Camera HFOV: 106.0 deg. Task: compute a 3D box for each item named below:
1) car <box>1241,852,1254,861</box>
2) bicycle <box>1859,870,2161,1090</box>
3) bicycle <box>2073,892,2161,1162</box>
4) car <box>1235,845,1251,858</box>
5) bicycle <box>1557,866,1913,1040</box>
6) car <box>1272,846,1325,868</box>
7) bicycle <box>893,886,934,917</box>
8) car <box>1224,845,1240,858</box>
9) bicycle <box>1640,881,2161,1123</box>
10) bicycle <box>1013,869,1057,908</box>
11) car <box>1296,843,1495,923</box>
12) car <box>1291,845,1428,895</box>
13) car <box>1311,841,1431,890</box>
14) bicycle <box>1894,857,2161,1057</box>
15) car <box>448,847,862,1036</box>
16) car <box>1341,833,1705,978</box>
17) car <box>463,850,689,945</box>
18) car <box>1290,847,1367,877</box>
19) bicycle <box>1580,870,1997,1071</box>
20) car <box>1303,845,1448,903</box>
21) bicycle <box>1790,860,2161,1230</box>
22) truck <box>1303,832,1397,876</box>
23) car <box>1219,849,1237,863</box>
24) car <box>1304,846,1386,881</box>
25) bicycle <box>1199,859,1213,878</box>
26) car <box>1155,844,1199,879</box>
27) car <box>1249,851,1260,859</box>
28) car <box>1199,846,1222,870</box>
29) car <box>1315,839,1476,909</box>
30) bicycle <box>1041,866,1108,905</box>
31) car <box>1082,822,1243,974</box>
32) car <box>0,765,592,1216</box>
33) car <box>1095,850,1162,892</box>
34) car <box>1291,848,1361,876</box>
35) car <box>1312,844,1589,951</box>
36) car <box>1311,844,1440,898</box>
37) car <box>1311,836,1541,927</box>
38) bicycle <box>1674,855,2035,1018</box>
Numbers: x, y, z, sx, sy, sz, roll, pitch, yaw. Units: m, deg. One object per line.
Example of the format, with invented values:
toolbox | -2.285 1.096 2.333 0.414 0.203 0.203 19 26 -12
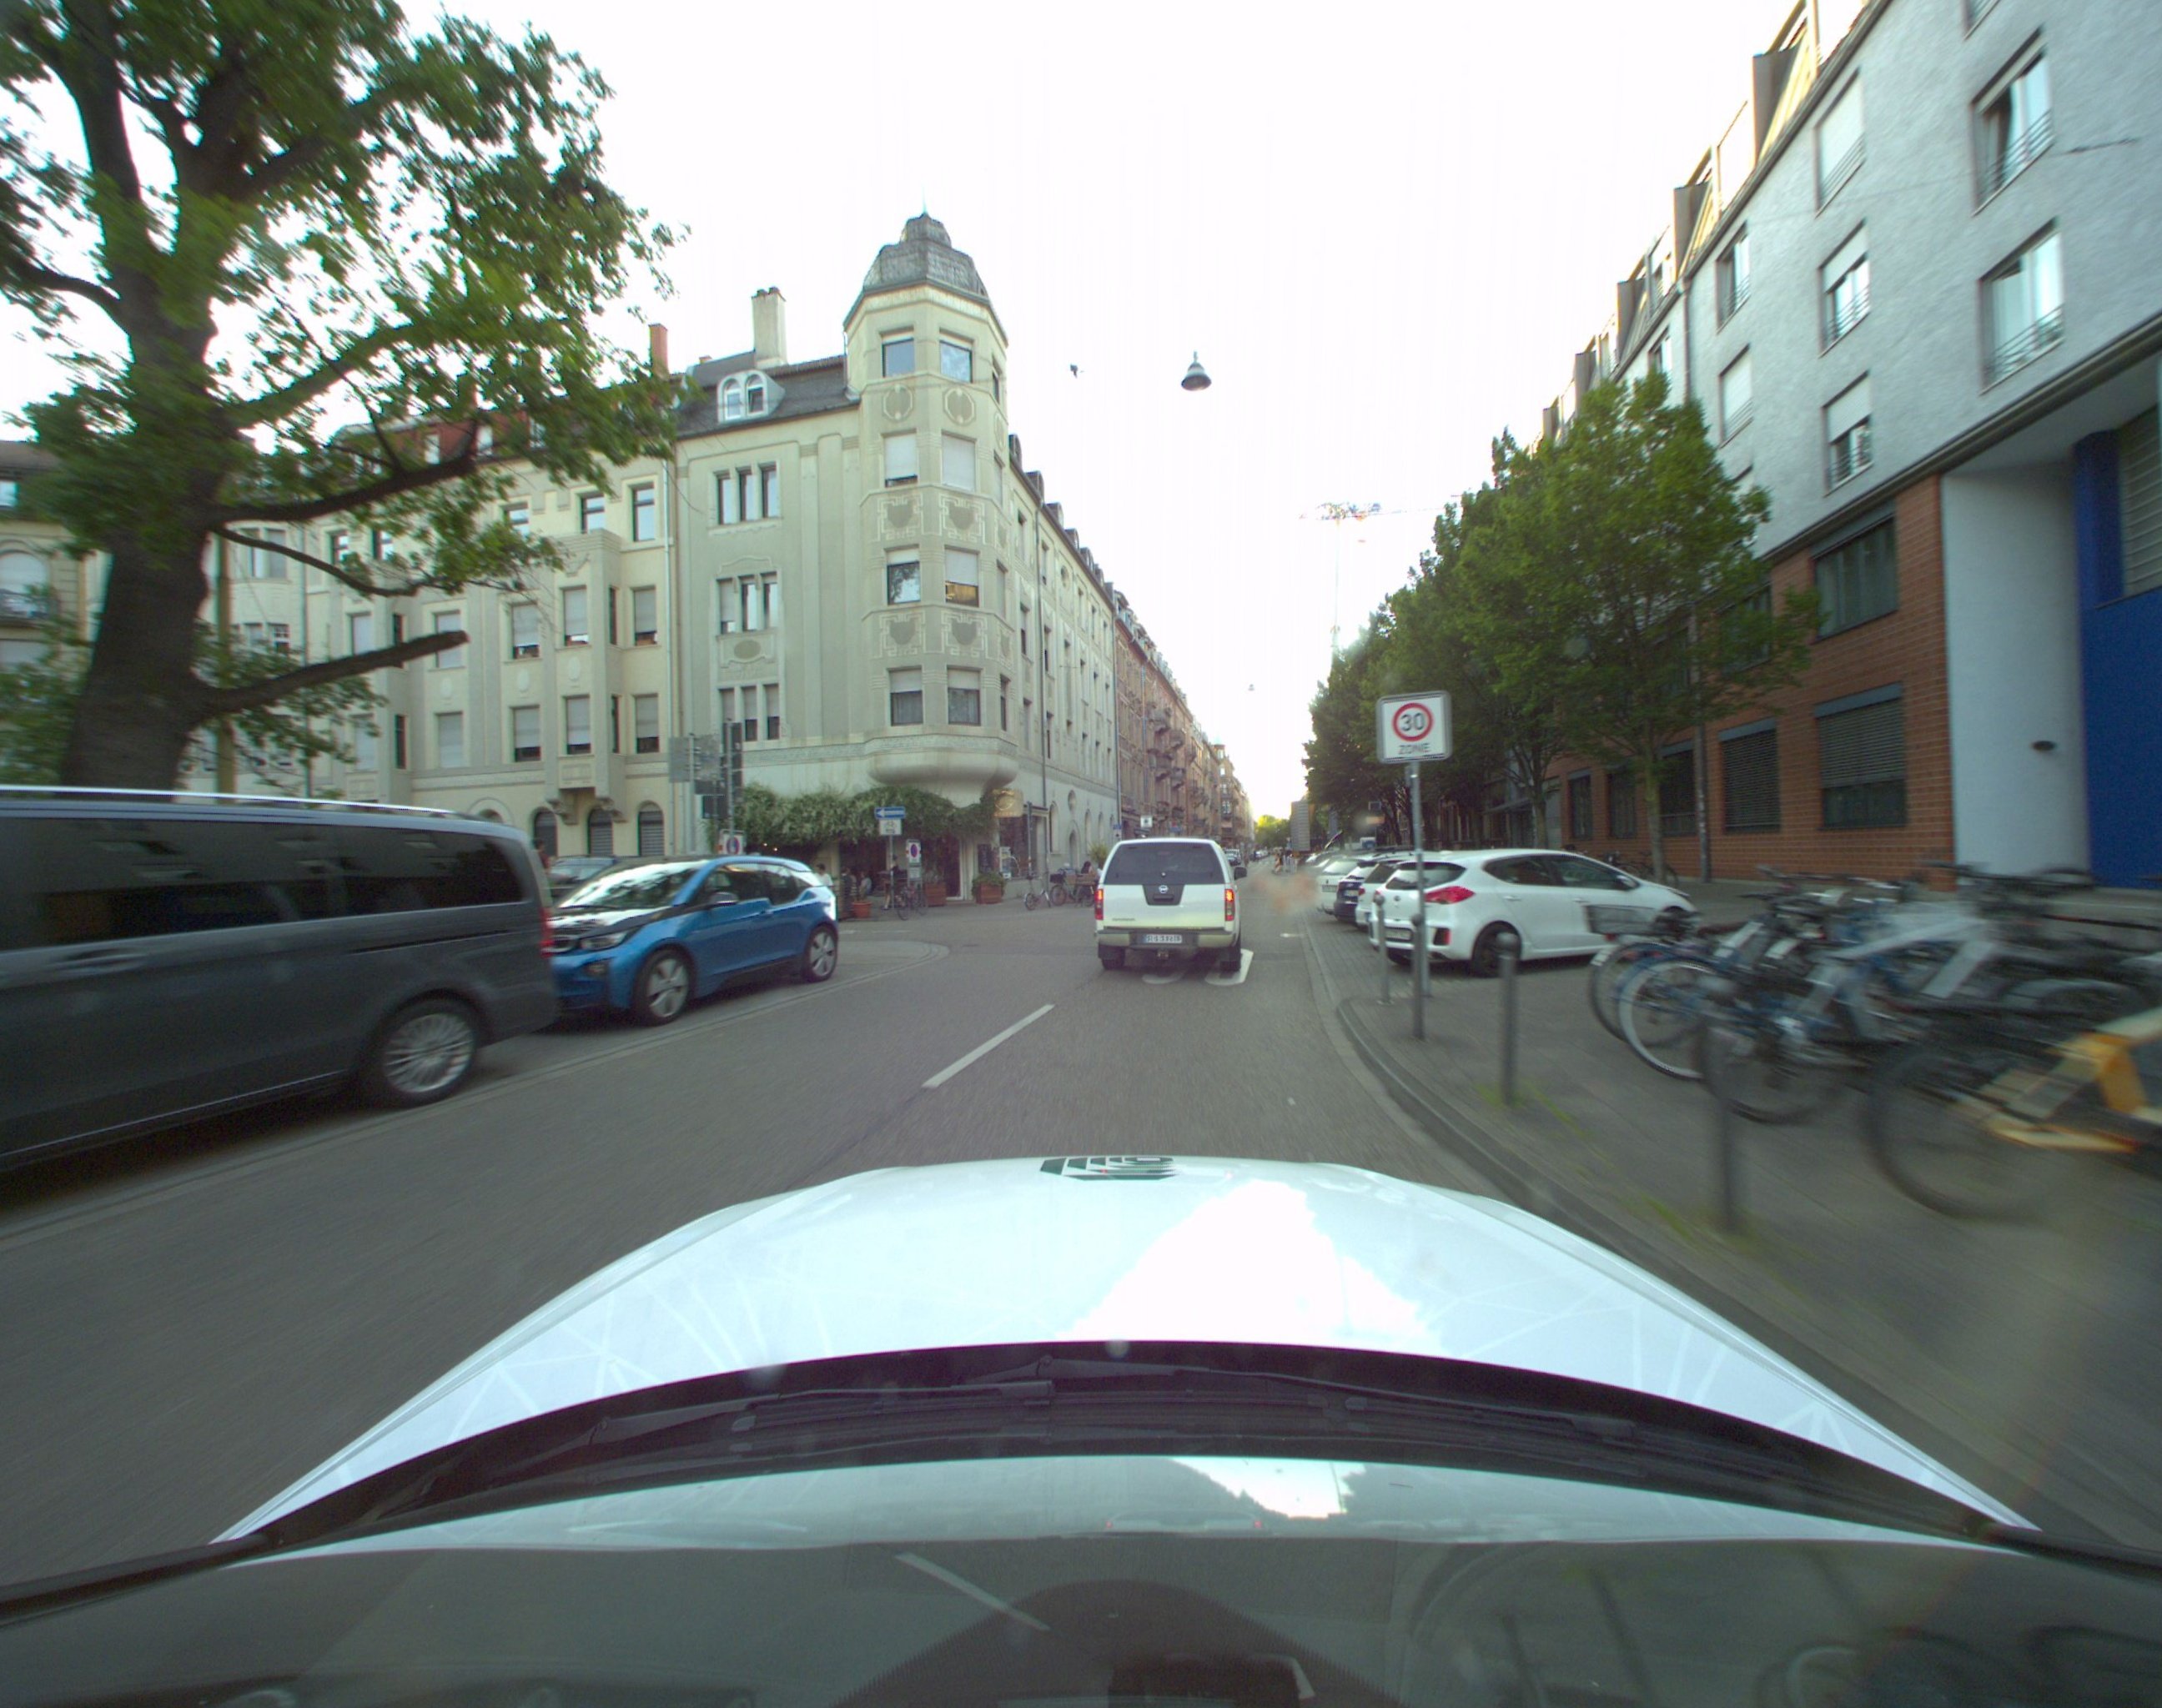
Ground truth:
car | 30.063 0.495 147.006 1.832 1.552 4.374 -2 0 16
bicycle | 5.260 0.630 4.187 1.845 1.038 0.403 -4 -1 12
bicycle | 4.988 0.650 3.103 1.529 1.038 0.473 -4 -1 12
car | 23.604 -0.324 118.895 1.979 1.784 4.236 -1 0 15
bicycle | 4.379 0.673 5.566 1.845 1.066 0.447 -4 -1 12
car | 18.580 0.236 69.477 4.161 1.780 1.828 -1 0 19
bicycle | -4.597 1.291 22.492 0.420 0.695 1.785 -2 2 11
car | 18.744 -0.318 101.303 1.698 1.530 4.015 -1 0 14
bicycle | 3.901 0.712 3.969 1.845 1.038 0.473 -4 -1 12
bicycle | -1.309 0.980 23.442 0.419 1.012 1.729 -1 1 27
car | 7.012 0.604 18.213 3.997 1.537 1.626 -2 0 -17
car | 9.813 0.530 28.728 4.387 1.534 1.795 -2 0 -20
car | 11.225 0.443 31.676 3.982 1.636 1.755 -3 0 -6
bicycle | 6.089 0.579 4.769 1.845 1.066 0.526 -4 -1 12
car | -4.207 0.727 8.868 1.628 1.555 4.021 -2 0 16
car | 5.603 0.570 10.443 3.995 1.506 1.761 -2 0 -16
car | -10.765 0.905 17.426 3.956 1.844 1.899 -2 0 17
car | 13.970 0.451 45.977 3.839 1.436 1.750 -3 0 -21
bicycle | 4.120 0.691 4.863 1.845 1.066 0.447 -4 -1 12
car | 8.513 0.560 23.639 3.599 1.482 1.714 -2 0 -14
bicycle | 3.675 0.635 2.877 1.696 1.176 0.473 -4 -1 12
truck | 19.214 0.038 58.498 6.274 2.977 2.273 -1 -3 15
car | 17.311 0.190 95.592 1.778 1.530 4.015 -1 0 14
car | 12.911 0.428 39.864 3.405 1.474 1.764 -3 1 -18
bicycle | 7.218 0.812 47.062 0.610 1.040 1.911 -2 0 14
car | 5.761 0.411 48.384 1.891 1.925 4.966 -1 0 14
car | 34.576 0.125 162.324 1.832 1.552 4.375 -2 0 17
car | 10.710 0.285 67.307 1.548 1.921 3.870 0 0 13
car | 8.056 0.479 20.905 3.605 1.580 1.705 -2 0 -20
bicycle | -0.204 0.913 24.158 2.089 1.095 0.504 -1 1 38
car | 1.376 0.556 12.091 1.921 1.794 4.634 -1 -1 10
car | -5.378 0.585 3.852 1.979 1.866 5.311 -2 0 15
car | 2.053 0.672 33.893 1.980 1.591 4.330 -2 0 13
car | 14.499 0.453 48.260 3.901 1.530 1.624 -1 0 -26
car | 6.147 0.671 13.634 4.000 1.473 1.863 -2 -2 -20
car | 9.395 0.515 26.005 3.599 1.534 1.555 -2 0 -15
car | 6.785 0.509 16.099 3.997 1.523 1.700 -2 -2 -17
bicycle | 5.623 0.604 6.028 1.898 1.066 0.526 -4 -1 12
